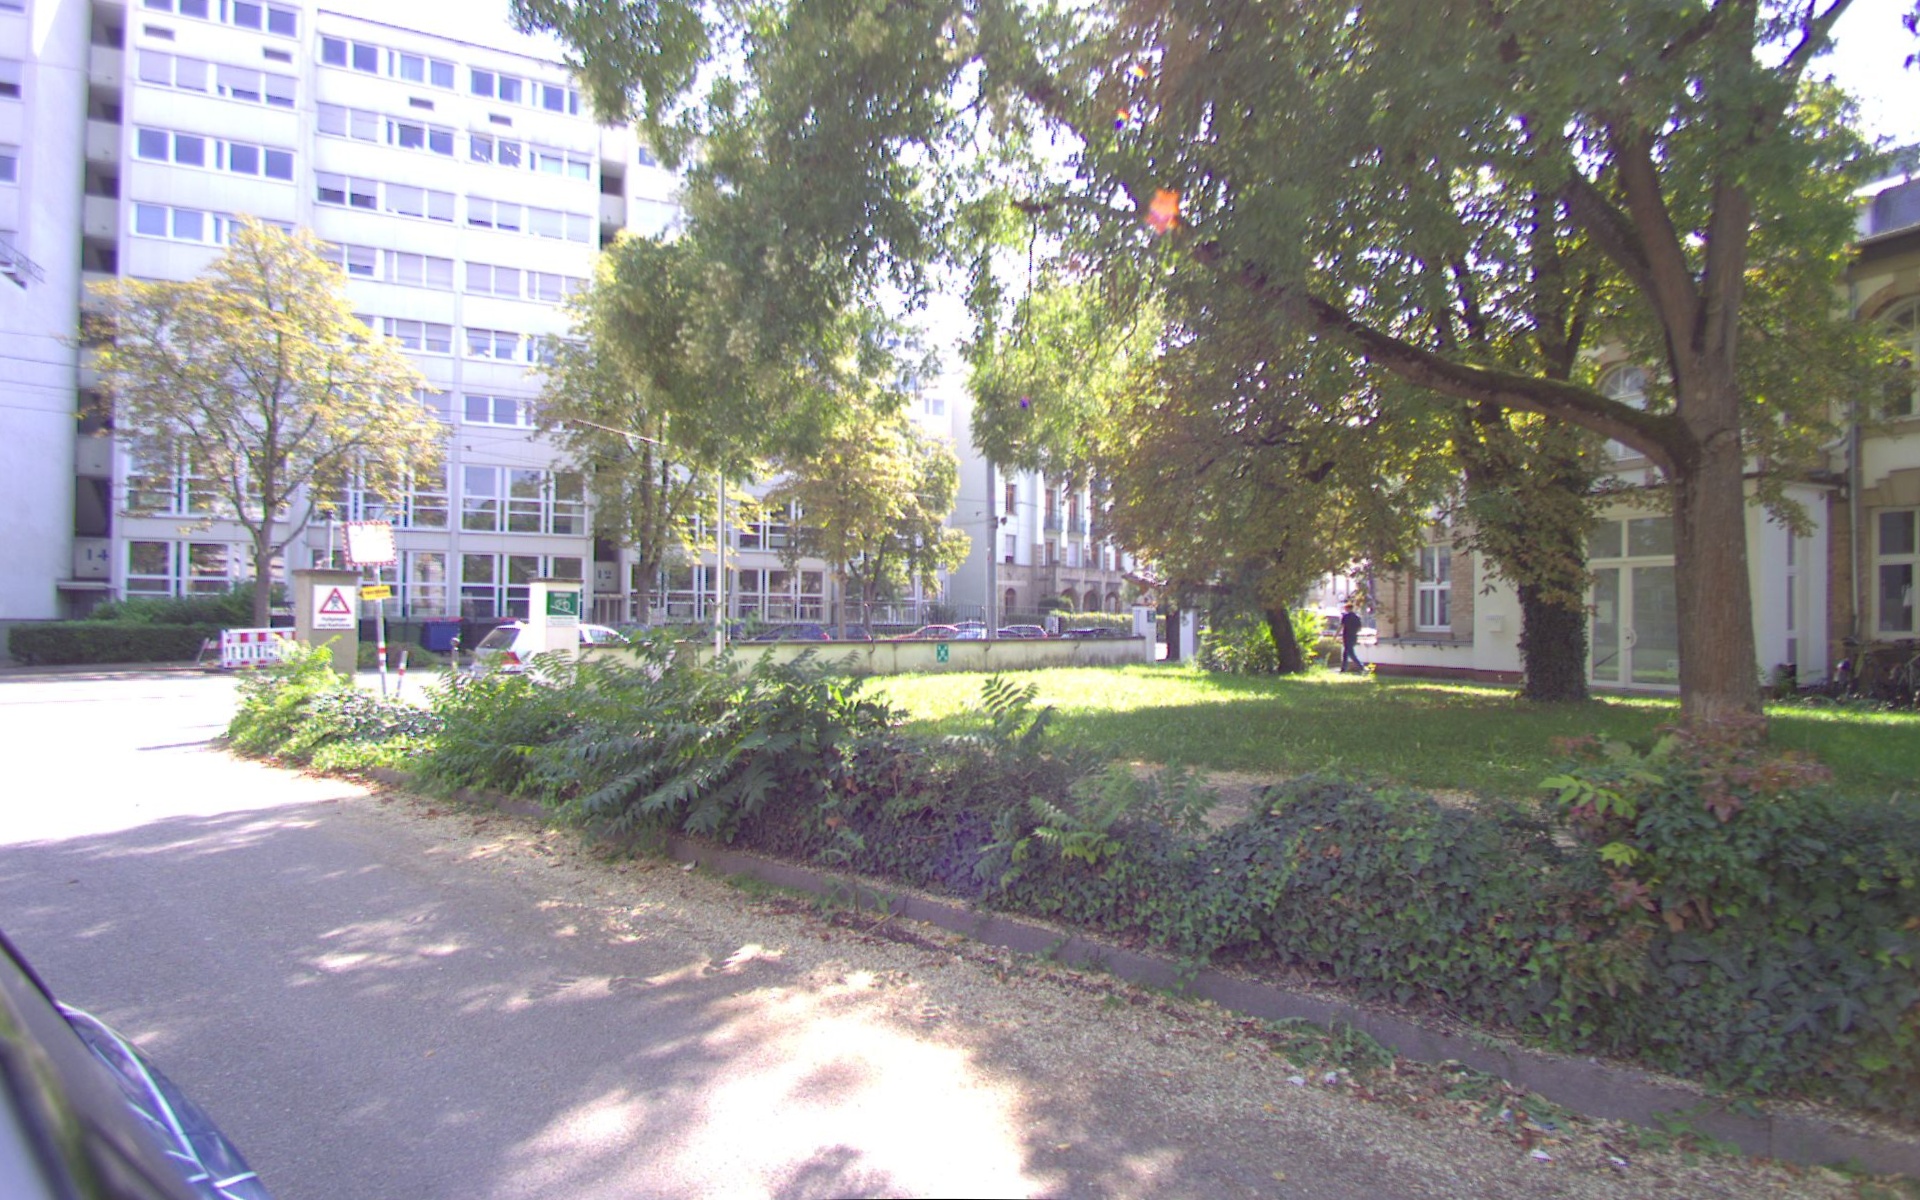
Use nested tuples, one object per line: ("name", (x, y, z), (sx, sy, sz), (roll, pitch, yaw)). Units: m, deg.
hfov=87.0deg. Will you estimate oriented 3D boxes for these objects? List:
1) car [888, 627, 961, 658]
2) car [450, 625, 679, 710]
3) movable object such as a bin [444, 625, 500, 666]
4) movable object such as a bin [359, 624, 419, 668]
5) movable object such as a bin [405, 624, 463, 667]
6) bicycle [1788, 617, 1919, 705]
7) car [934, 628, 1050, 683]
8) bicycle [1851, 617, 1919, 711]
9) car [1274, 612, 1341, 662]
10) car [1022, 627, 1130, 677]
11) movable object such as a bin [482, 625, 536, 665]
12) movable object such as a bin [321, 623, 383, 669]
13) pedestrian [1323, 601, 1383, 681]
("car", (-1.826, 2.168, 51.766), (3.617, 1.463, 1.677), (1, -2, -2))
("car", (-7.480, 1.245, 19.393), (1.796, 1.457, 3.681), (-2, -3, 41))
("movable object such as a bin", (-18.990, 1.756, 39.400), (1.686, 1.571, 1.337), (-1, -3, 38))
("movable object such as a bin", (-20.886, 1.670, 37.018), (1.686, 1.571, 1.337), (-1, -3, 38))
("movable object such as a bin", (-19.801, 1.708, 38.081), (1.686, 1.571, 1.337), (-1, -3, 38))
("bicycle", (14.234, 0.954, 15.868), (2.482, 1.312, 0.774), (2, -2, -20))
("car", (1.008, 1.622, 30.416), (1.644, 1.523, 3.593), (0, -2, 39))
("bicycle", (14.434, 0.941, 14.988), (2.482, 1.312, 0.774), (2, -2, -20))
("car", (17.596, 1.863, 51.143), (1.998, 2.383, 3.948), (0, -2, 39))
("car", (4.026, 1.722, 34.584), (1.799, 1.589, 3.946), (-1, -2, 40))
("movable object such as a bin", (-18.072, 1.792, 40.532), (1.686, 1.571, 1.337), (-1, -3, 38))
("movable object such as a bin", (-21.411, 1.622, 35.619), (1.686, 1.571, 1.337), (-1, -3, 38))
("pedestrian", (9.294, 0.970, 23.952), (0.723, 1.842, 1.134), (1, -2, -22))
